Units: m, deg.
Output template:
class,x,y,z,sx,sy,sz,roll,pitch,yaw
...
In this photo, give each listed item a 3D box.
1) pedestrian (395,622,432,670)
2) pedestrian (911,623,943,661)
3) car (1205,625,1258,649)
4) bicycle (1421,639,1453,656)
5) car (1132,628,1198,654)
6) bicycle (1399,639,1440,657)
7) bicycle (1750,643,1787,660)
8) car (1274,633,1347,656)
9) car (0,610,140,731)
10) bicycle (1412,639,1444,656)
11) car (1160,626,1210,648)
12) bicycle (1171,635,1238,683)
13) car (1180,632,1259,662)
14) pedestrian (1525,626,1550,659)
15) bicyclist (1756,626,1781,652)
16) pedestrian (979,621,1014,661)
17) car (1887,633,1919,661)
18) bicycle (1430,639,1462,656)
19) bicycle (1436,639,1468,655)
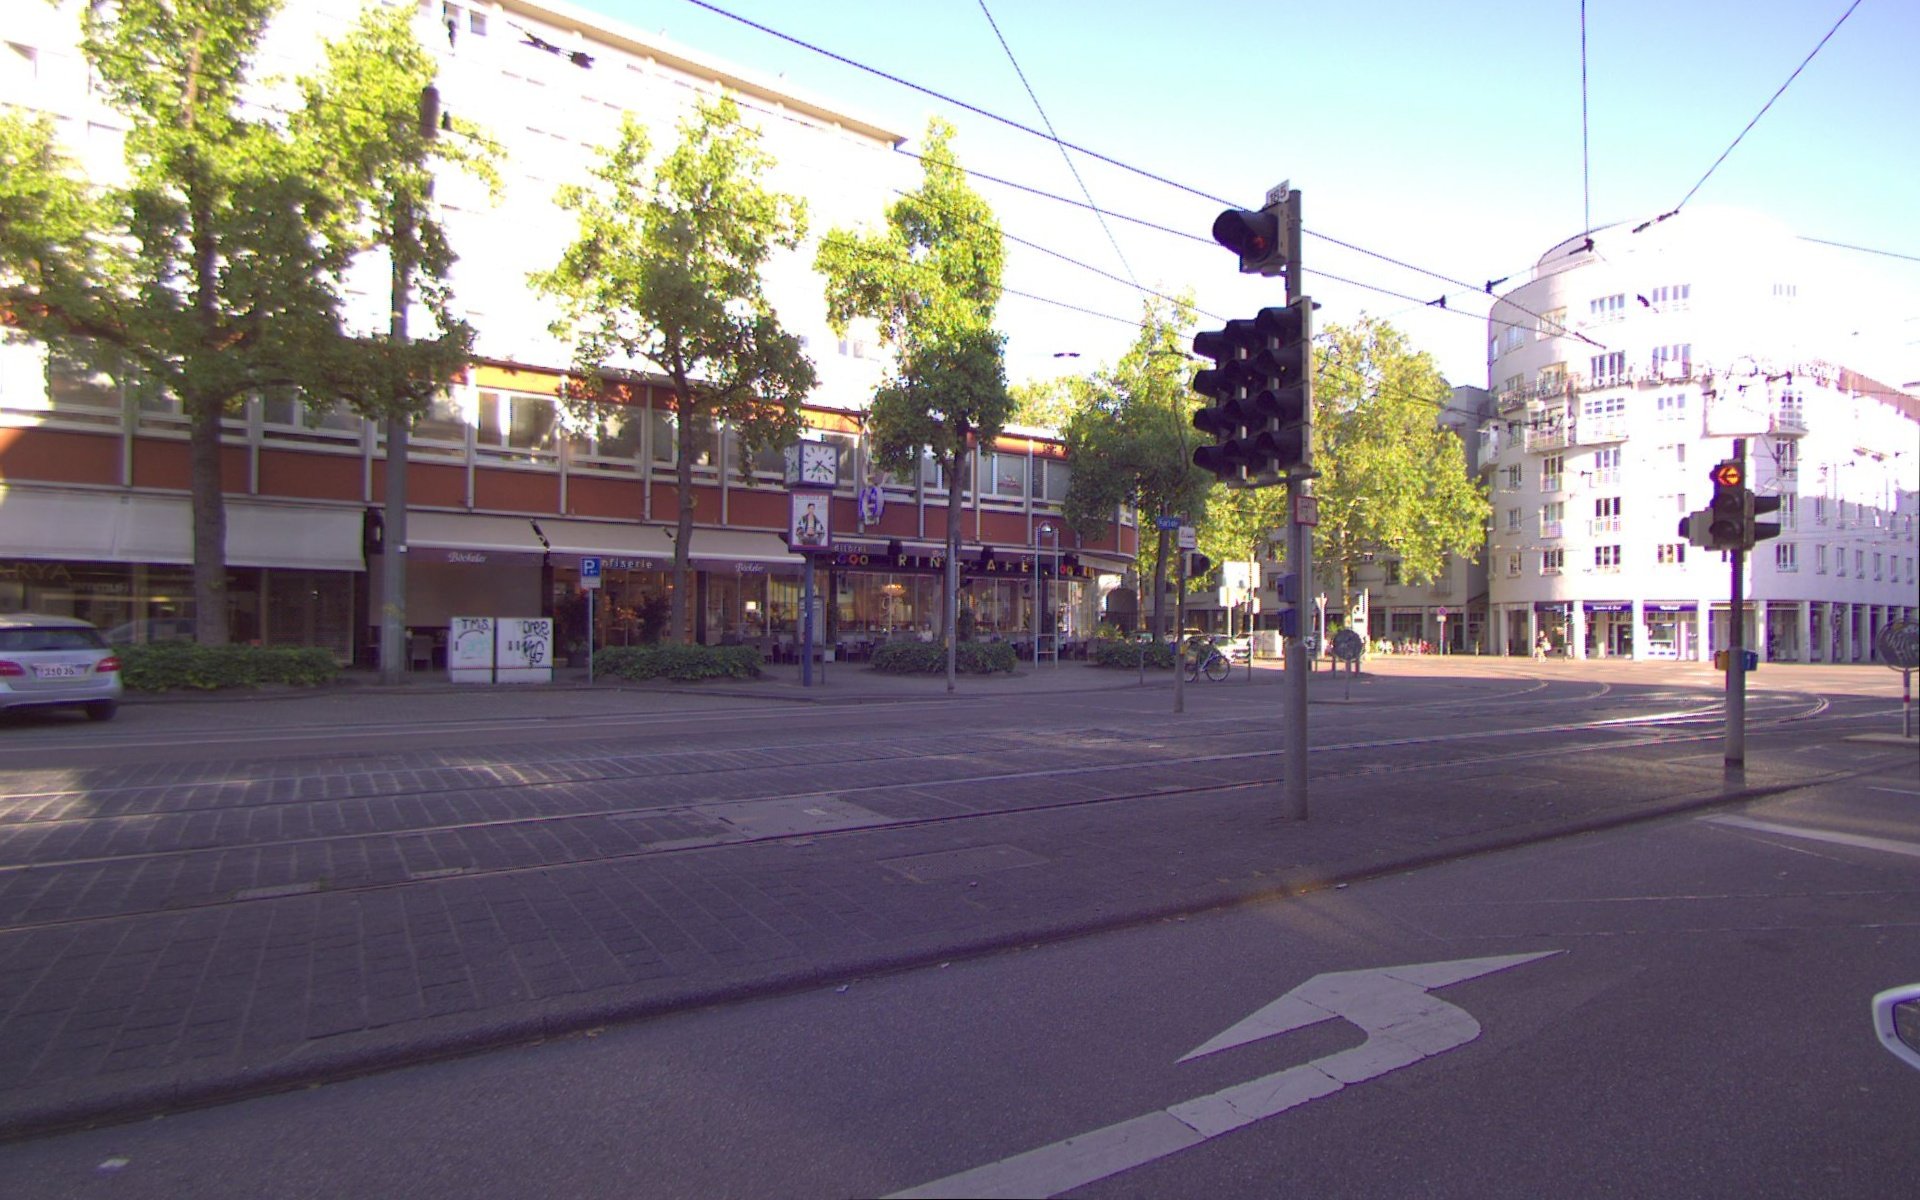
class,x,y,z,sx,sy,sz,roll,pitch,yaw
pedestrian,-13.937,1.166,25.622,0.721,1.187,0.771,1,-2,-36
pedestrian,-1.137,1.438,34.281,0.893,1.279,0.837,1,-1,-17
car,20.429,2.810,75.538,3.960,1.738,1.783,2,-2,-35
bicycle,33.293,3.309,70.083,0.808,1.122,1.934,1,-2,-28
car,11.704,2.358,57.580,1.860,1.439,4.442,1,-2,-16
bicycle,31.282,3.251,68.381,2.410,1.122,0.932,-1,-2,44
bicycle,46.868,2.955,58.221,2.236,0.939,0.838,1,-1,-28
car,23.190,2.926,66.610,1.868,1.440,4.423,1,-2,-28
car,-14.448,0.972,15.084,3.925,1.574,1.796,1,-1,26
bicycle,32.435,3.295,69.613,0.808,1.122,1.934,1,-2,-28
car,18.578,3.079,82.916,3.960,1.738,1.783,2,-2,-35
bicycle,6.569,1.578,26.965,1.833,1.251,0.578,1,0,-28
car,12.994,2.341,50.568,1.860,1.439,4.442,1,-2,-16
pedestrian,31.104,2.293,54.101,0.687,1.704,0.866,-1,-1,-24
bicyclist,46.883,2.266,58.243,0.885,1.486,0.838,1,-1,-27
pedestrian,1.308,1.467,35.979,0.880,1.414,0.929,1,-2,-31
car,57.386,2.800,59.974,4.463,1.641,1.982,2,-2,-34
bicycle,34.253,3.330,70.844,0.809,1.122,1.933,1,-2,-30
bicycle,34.932,3.344,71.377,0.809,1.122,1.933,1,-2,-30
